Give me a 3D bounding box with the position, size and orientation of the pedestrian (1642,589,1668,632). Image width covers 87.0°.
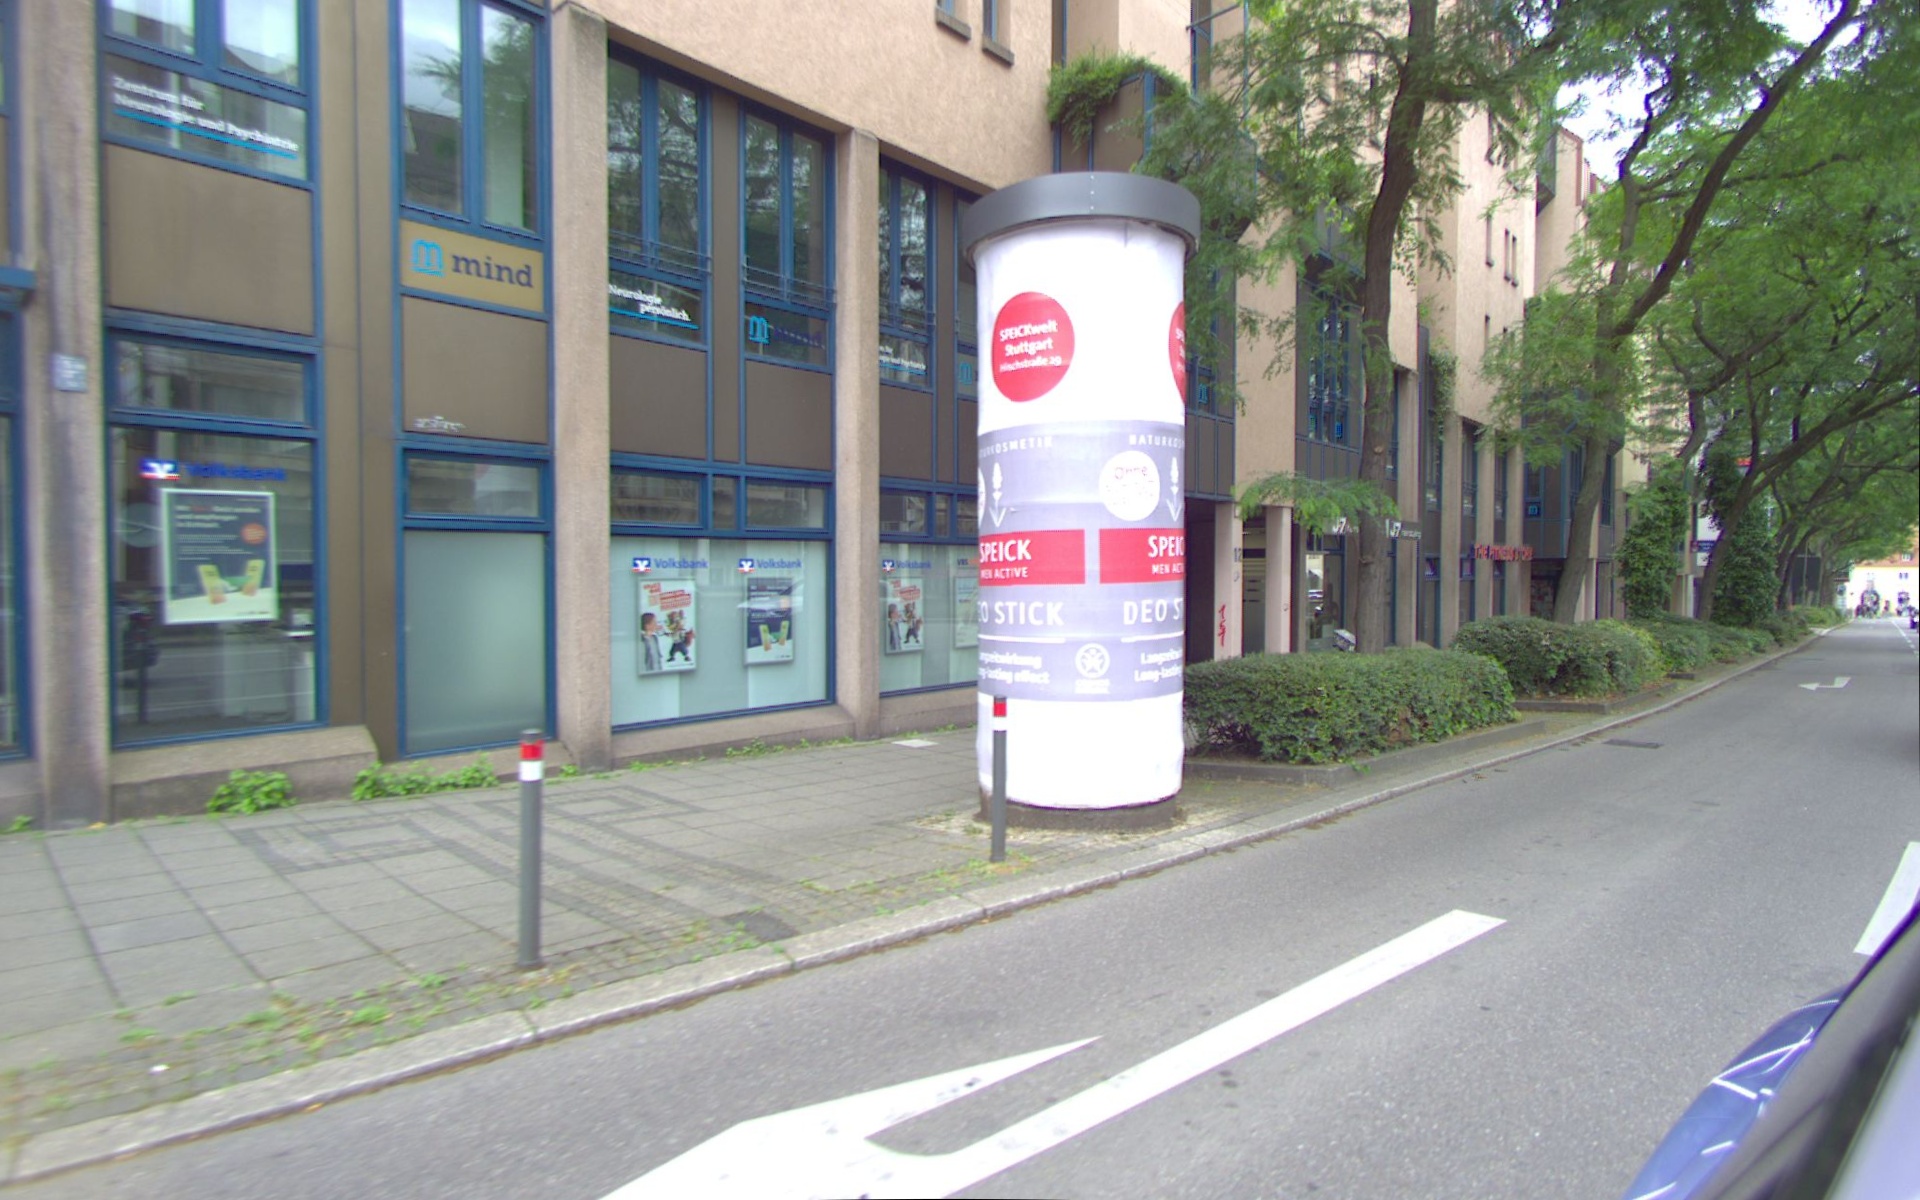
[{"bbox_3d":[28.390,0.407,41.347,0.675,1.733,0.711,1,0,-40],"label":"pedestrian"}]

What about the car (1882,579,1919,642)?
[{"bbox_3d":[35.188,0.340,36.189,5.626,2.184,2.502,0,0,-40],"label":"car"}]

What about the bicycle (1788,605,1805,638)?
[{"bbox_3d":[32.884,0.837,39.778,0.360,1.216,1.550,1,1,35],"label":"bicycle"}]
